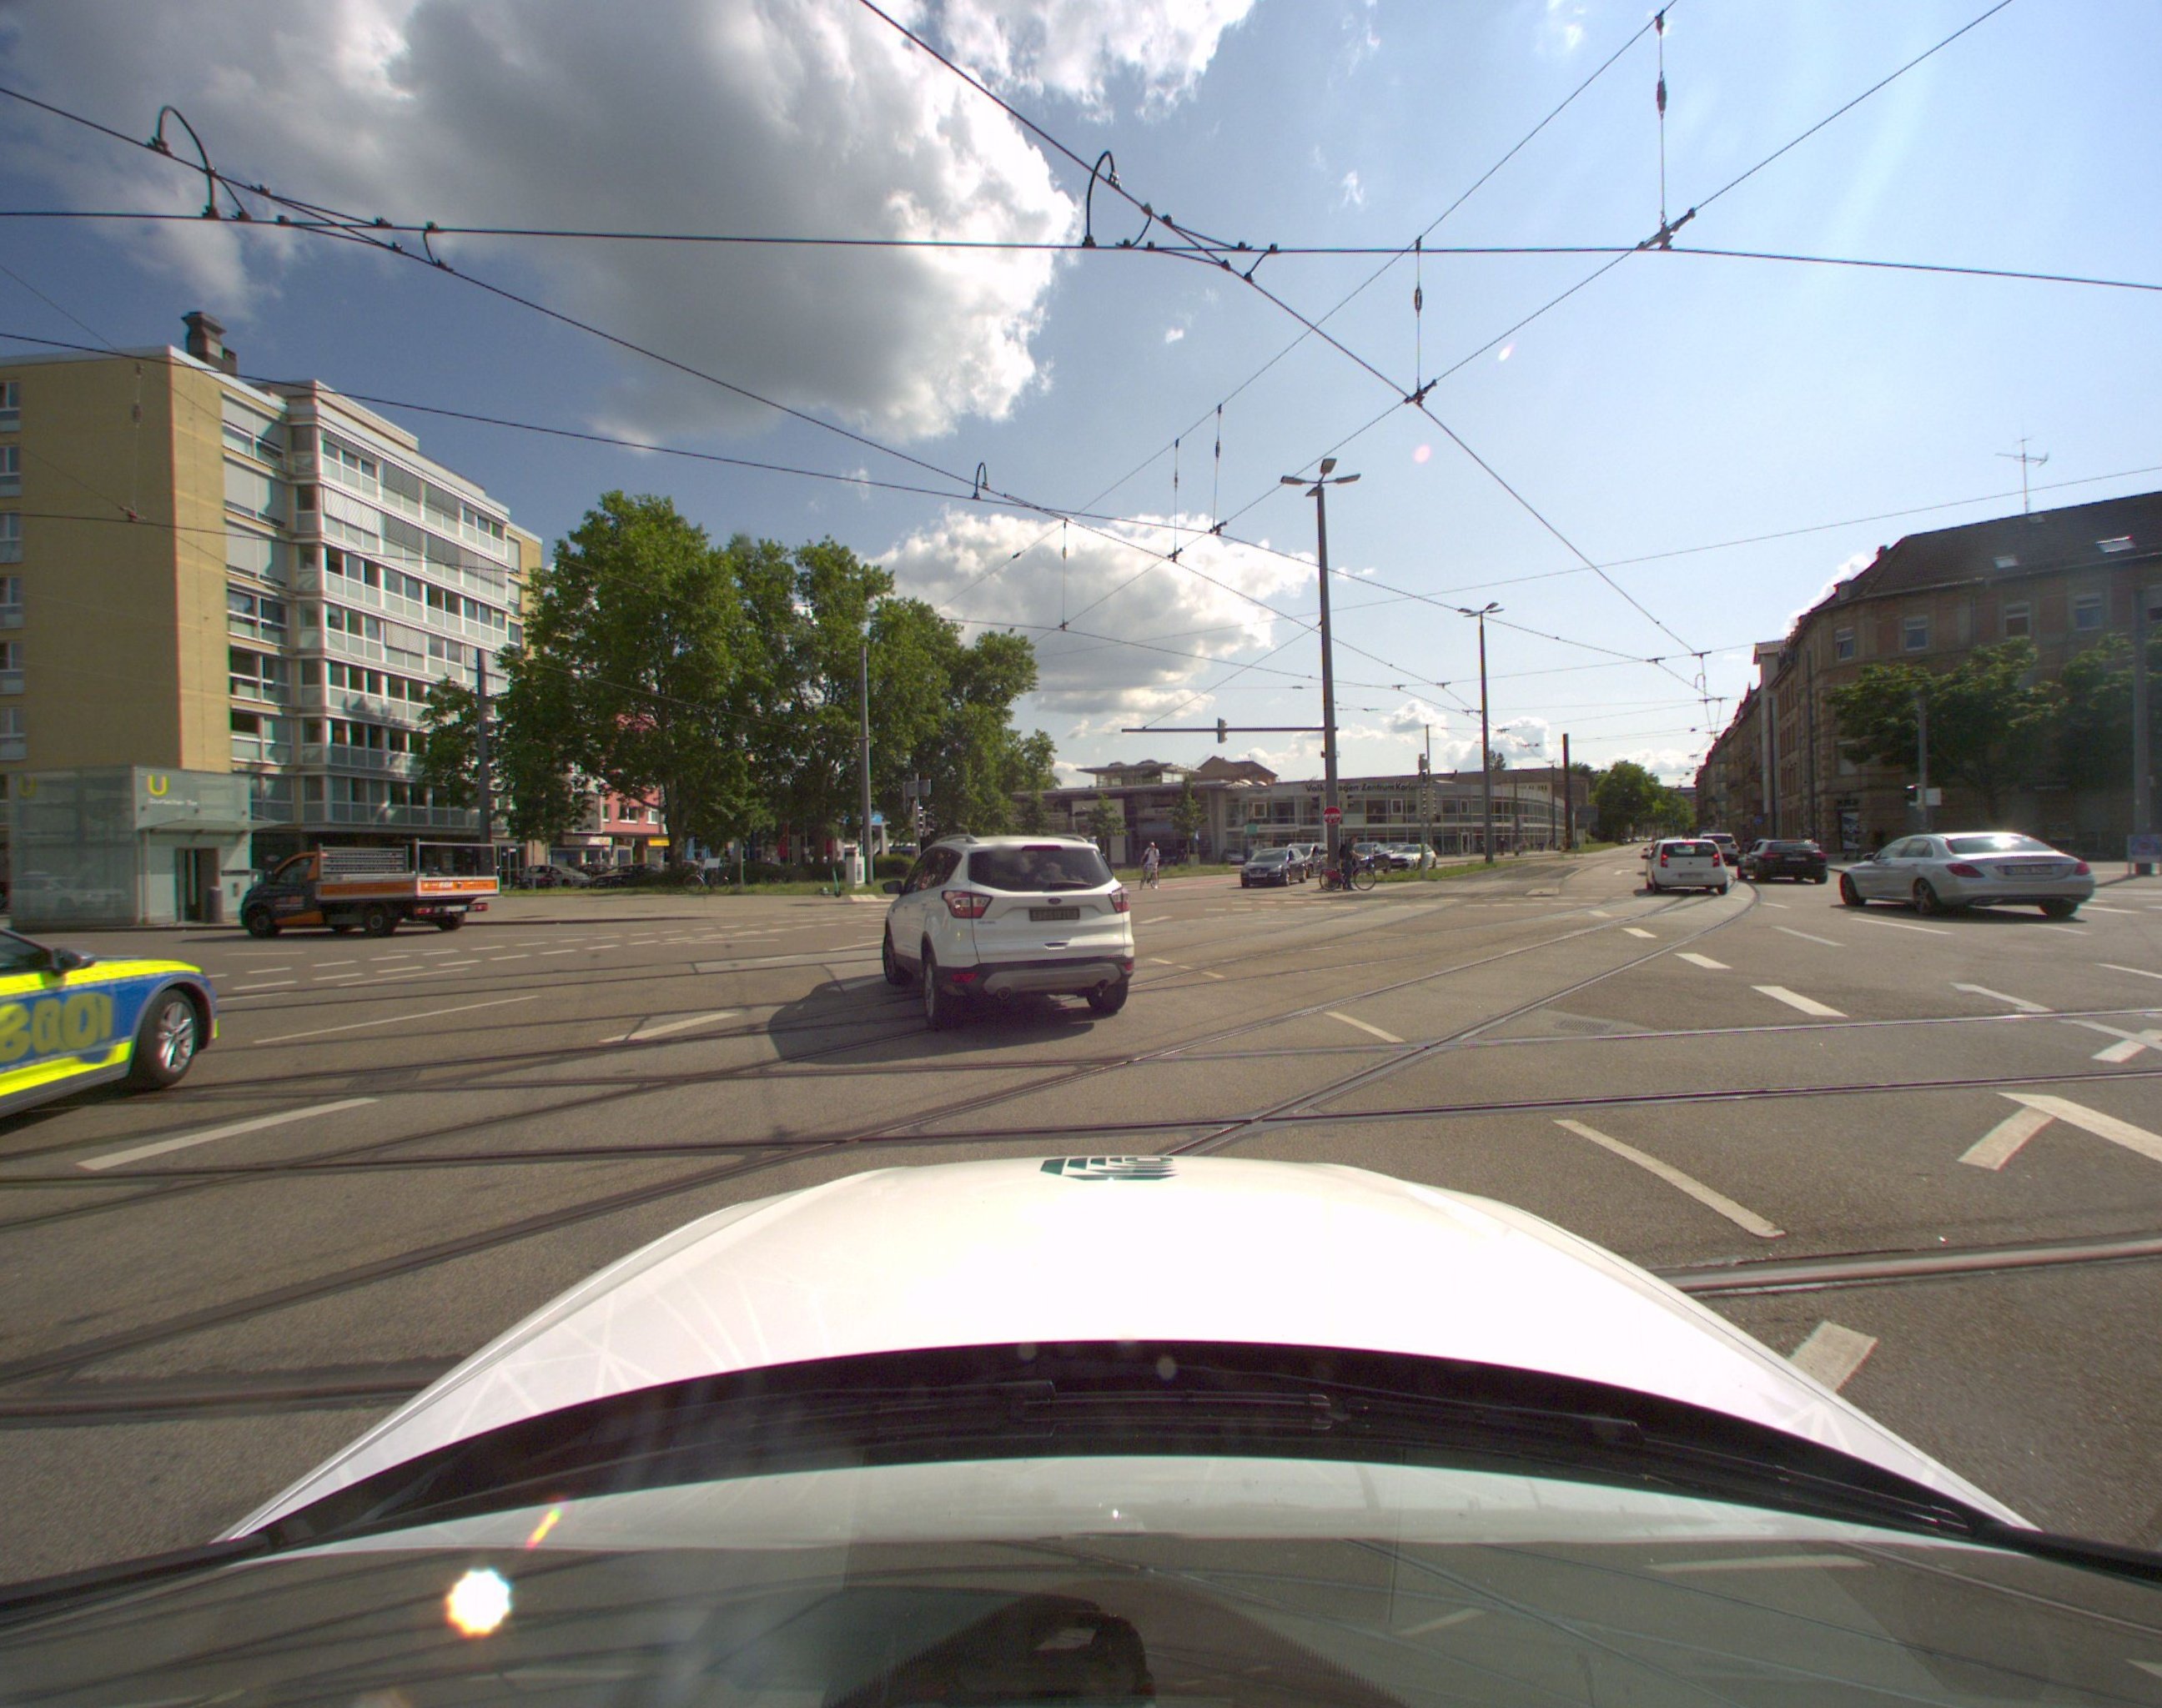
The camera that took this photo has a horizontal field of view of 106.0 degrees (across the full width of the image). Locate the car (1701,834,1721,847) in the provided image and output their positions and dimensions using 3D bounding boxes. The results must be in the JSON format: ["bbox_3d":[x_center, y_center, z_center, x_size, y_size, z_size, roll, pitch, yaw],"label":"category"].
[{"bbox_3d":[79.386,-1.663,102.647,1.819,1.652,4.025,-1,0,37],"label":"car"}]

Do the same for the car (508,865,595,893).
[{"bbox_3d":[-31.530,1.479,48.549,3.972,1.495,1.804,-2,0,1],"label":"car"}]

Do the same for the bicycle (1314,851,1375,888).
[{"bbox_3d":[8.369,0.492,25.825,1.762,1.125,0.643,-1,1,24],"label":"bicycle"}]

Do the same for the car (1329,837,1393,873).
[{"bbox_3d":[12.753,0.004,36.953,1.672,1.461,3.994,-3,0,34],"label":"car"}]

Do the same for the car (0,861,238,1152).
[{"bbox_3d":[-6.680,0.851,3.906,1.887,1.568,4.582,-2,0,-21],"label":"car"}]

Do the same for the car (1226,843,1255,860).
[{"bbox_3d":[15.436,-0.213,78.496,1.802,1.534,3.939,-3,-1,24],"label":"car"}]

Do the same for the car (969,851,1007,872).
[{"bbox_3d":[-9.417,0.757,82.816,1.952,1.937,5.090,-3,-1,16],"label":"car"}]

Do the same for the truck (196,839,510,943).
[{"bbox_3d":[-16.839,0.834,18.961,5.795,2.155,2.354,-2,0,11],"label":"truck"}]

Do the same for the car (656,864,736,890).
[{"bbox_3d":[-22.013,1.298,46.574,3.958,1.327,1.639,-2,-1,14],"label":"car"}]

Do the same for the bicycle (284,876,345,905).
[{"bbox_3d":[-33.167,1.569,35.261,1.799,1.147,0.796,-1,0,-2],"label":"bicycle"}]

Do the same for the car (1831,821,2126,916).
[{"bbox_3d":[16.042,0.204,14.979,1.913,1.455,4.787,-1,0,25],"label":"car"}]

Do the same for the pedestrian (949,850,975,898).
[{"bbox_3d":[-4.361,0.719,29.805,0.923,1.743,0.588,0,0,-7],"label":"pedestrian"}]

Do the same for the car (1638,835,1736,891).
[{"bbox_3d":[17.034,0.207,23.081,1.634,1.422,4.025,-2,0,28],"label":"car"}]

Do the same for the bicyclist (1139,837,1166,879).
[{"bbox_3d":[2.893,0.163,32.951,0.752,1.683,0.765,-3,0,31],"label":"bicyclist"}]

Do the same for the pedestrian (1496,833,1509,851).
[{"bbox_3d":[41.804,-1.162,80.773,0.880,1.737,0.868,0,0,-38],"label":"pedestrian"}]

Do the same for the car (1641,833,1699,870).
[{"bbox_3d":[24.324,-0.109,33.634,1.832,1.419,3.702,-1,0,37],"label":"car"}]

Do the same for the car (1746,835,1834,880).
[{"bbox_3d":[23.333,0.082,26.924,1.682,1.372,4.159,-2,0,34],"label":"car"}]

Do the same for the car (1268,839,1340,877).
[{"bbox_3d":[10.572,0.162,38.381,1.720,1.573,4.026,-3,0,39],"label":"car"}]

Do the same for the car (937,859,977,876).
[{"bbox_3d":[-13.956,1.528,91.676,3.950,1.790,1.853,-3,-1,25],"label":"car"}]

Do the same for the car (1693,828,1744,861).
[{"bbox_3d":[33.109,-0.477,42.377,1.819,1.652,4.025,-1,0,34],"label":"car"}]

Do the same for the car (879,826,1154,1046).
[{"bbox_3d":[-0.929,0.640,8.471,1.833,1.663,3.928,-2,0,-20],"label":"car"}]

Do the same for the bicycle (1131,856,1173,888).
[{"bbox_3d":[2.890,0.722,32.910,0.752,1.192,2.164,-3,0,31],"label":"bicycle"}]

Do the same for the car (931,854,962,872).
[{"bbox_3d":[-14.414,1.014,87.153,1.849,1.790,3.957,-1,-1,-34],"label":"car"}]

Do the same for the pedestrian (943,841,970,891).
[{"bbox_3d":[-4.363,0.425,28.550,0.923,1.743,0.587,0,0,-8],"label":"pedestrian"}]

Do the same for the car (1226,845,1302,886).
[{"bbox_3d":[6.992,0.410,30.890,1.721,1.373,3.664,-3,0,30],"label":"car"}]

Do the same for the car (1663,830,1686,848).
[{"bbox_3d":[59.209,-1.483,81.224,1.819,1.652,4.025,-1,0,37],"label":"car"}]

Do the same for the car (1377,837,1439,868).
[{"bbox_3d":[17.060,-0.112,42.392,1.881,1.461,3.994,-3,-1,39],"label":"car"}]

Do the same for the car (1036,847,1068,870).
[{"bbox_3d":[-2.777,0.440,79.681,1.980,2.014,4.245,-3,-1,13],"label":"car"}]

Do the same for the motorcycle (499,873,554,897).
[{"bbox_3d":[-25.447,1.406,37.386,2.054,0.917,0.802,-3,1,-37],"label":"motorcycle"}]

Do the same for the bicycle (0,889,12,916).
[{"bbox_3d":[-45.070,2.007,33.221,1.799,1.104,0.796,-1,0,-3],"label":"bicycle"}]

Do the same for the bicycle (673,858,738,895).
[{"bbox_3d":[-14.841,0.889,32.223,2.160,1.414,0.813,-1,1,1],"label":"bicycle"}]

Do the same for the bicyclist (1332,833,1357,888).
[{"bbox_3d":[8.365,0.201,25.856,0.654,1.738,0.643,-1,1,24],"label":"bicyclist"}]

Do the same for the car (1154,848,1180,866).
[{"bbox_3d":[7.942,0.248,74.764,1.806,1.534,3.930,-3,-1,13],"label":"car"}]

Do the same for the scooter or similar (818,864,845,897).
[{"bbox_3d":[-9.343,0.984,30.495,1.160,1.193,0.402,0,0,42],"label":"scooter or similar"}]

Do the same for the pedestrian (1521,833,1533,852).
[{"bbox_3d":[45.763,-1.161,83.524,0.881,1.922,0.868,0,0,-40],"label":"pedestrian"}]

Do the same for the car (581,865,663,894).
[{"bbox_3d":[-24.772,1.341,44.103,1.896,1.413,4.005,-2,-1,5],"label":"car"}]

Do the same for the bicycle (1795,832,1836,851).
[{"bbox_3d":[30.730,-0.525,34.090,0.580,0.775,1.628,-2,0,15],"label":"bicycle"}]
